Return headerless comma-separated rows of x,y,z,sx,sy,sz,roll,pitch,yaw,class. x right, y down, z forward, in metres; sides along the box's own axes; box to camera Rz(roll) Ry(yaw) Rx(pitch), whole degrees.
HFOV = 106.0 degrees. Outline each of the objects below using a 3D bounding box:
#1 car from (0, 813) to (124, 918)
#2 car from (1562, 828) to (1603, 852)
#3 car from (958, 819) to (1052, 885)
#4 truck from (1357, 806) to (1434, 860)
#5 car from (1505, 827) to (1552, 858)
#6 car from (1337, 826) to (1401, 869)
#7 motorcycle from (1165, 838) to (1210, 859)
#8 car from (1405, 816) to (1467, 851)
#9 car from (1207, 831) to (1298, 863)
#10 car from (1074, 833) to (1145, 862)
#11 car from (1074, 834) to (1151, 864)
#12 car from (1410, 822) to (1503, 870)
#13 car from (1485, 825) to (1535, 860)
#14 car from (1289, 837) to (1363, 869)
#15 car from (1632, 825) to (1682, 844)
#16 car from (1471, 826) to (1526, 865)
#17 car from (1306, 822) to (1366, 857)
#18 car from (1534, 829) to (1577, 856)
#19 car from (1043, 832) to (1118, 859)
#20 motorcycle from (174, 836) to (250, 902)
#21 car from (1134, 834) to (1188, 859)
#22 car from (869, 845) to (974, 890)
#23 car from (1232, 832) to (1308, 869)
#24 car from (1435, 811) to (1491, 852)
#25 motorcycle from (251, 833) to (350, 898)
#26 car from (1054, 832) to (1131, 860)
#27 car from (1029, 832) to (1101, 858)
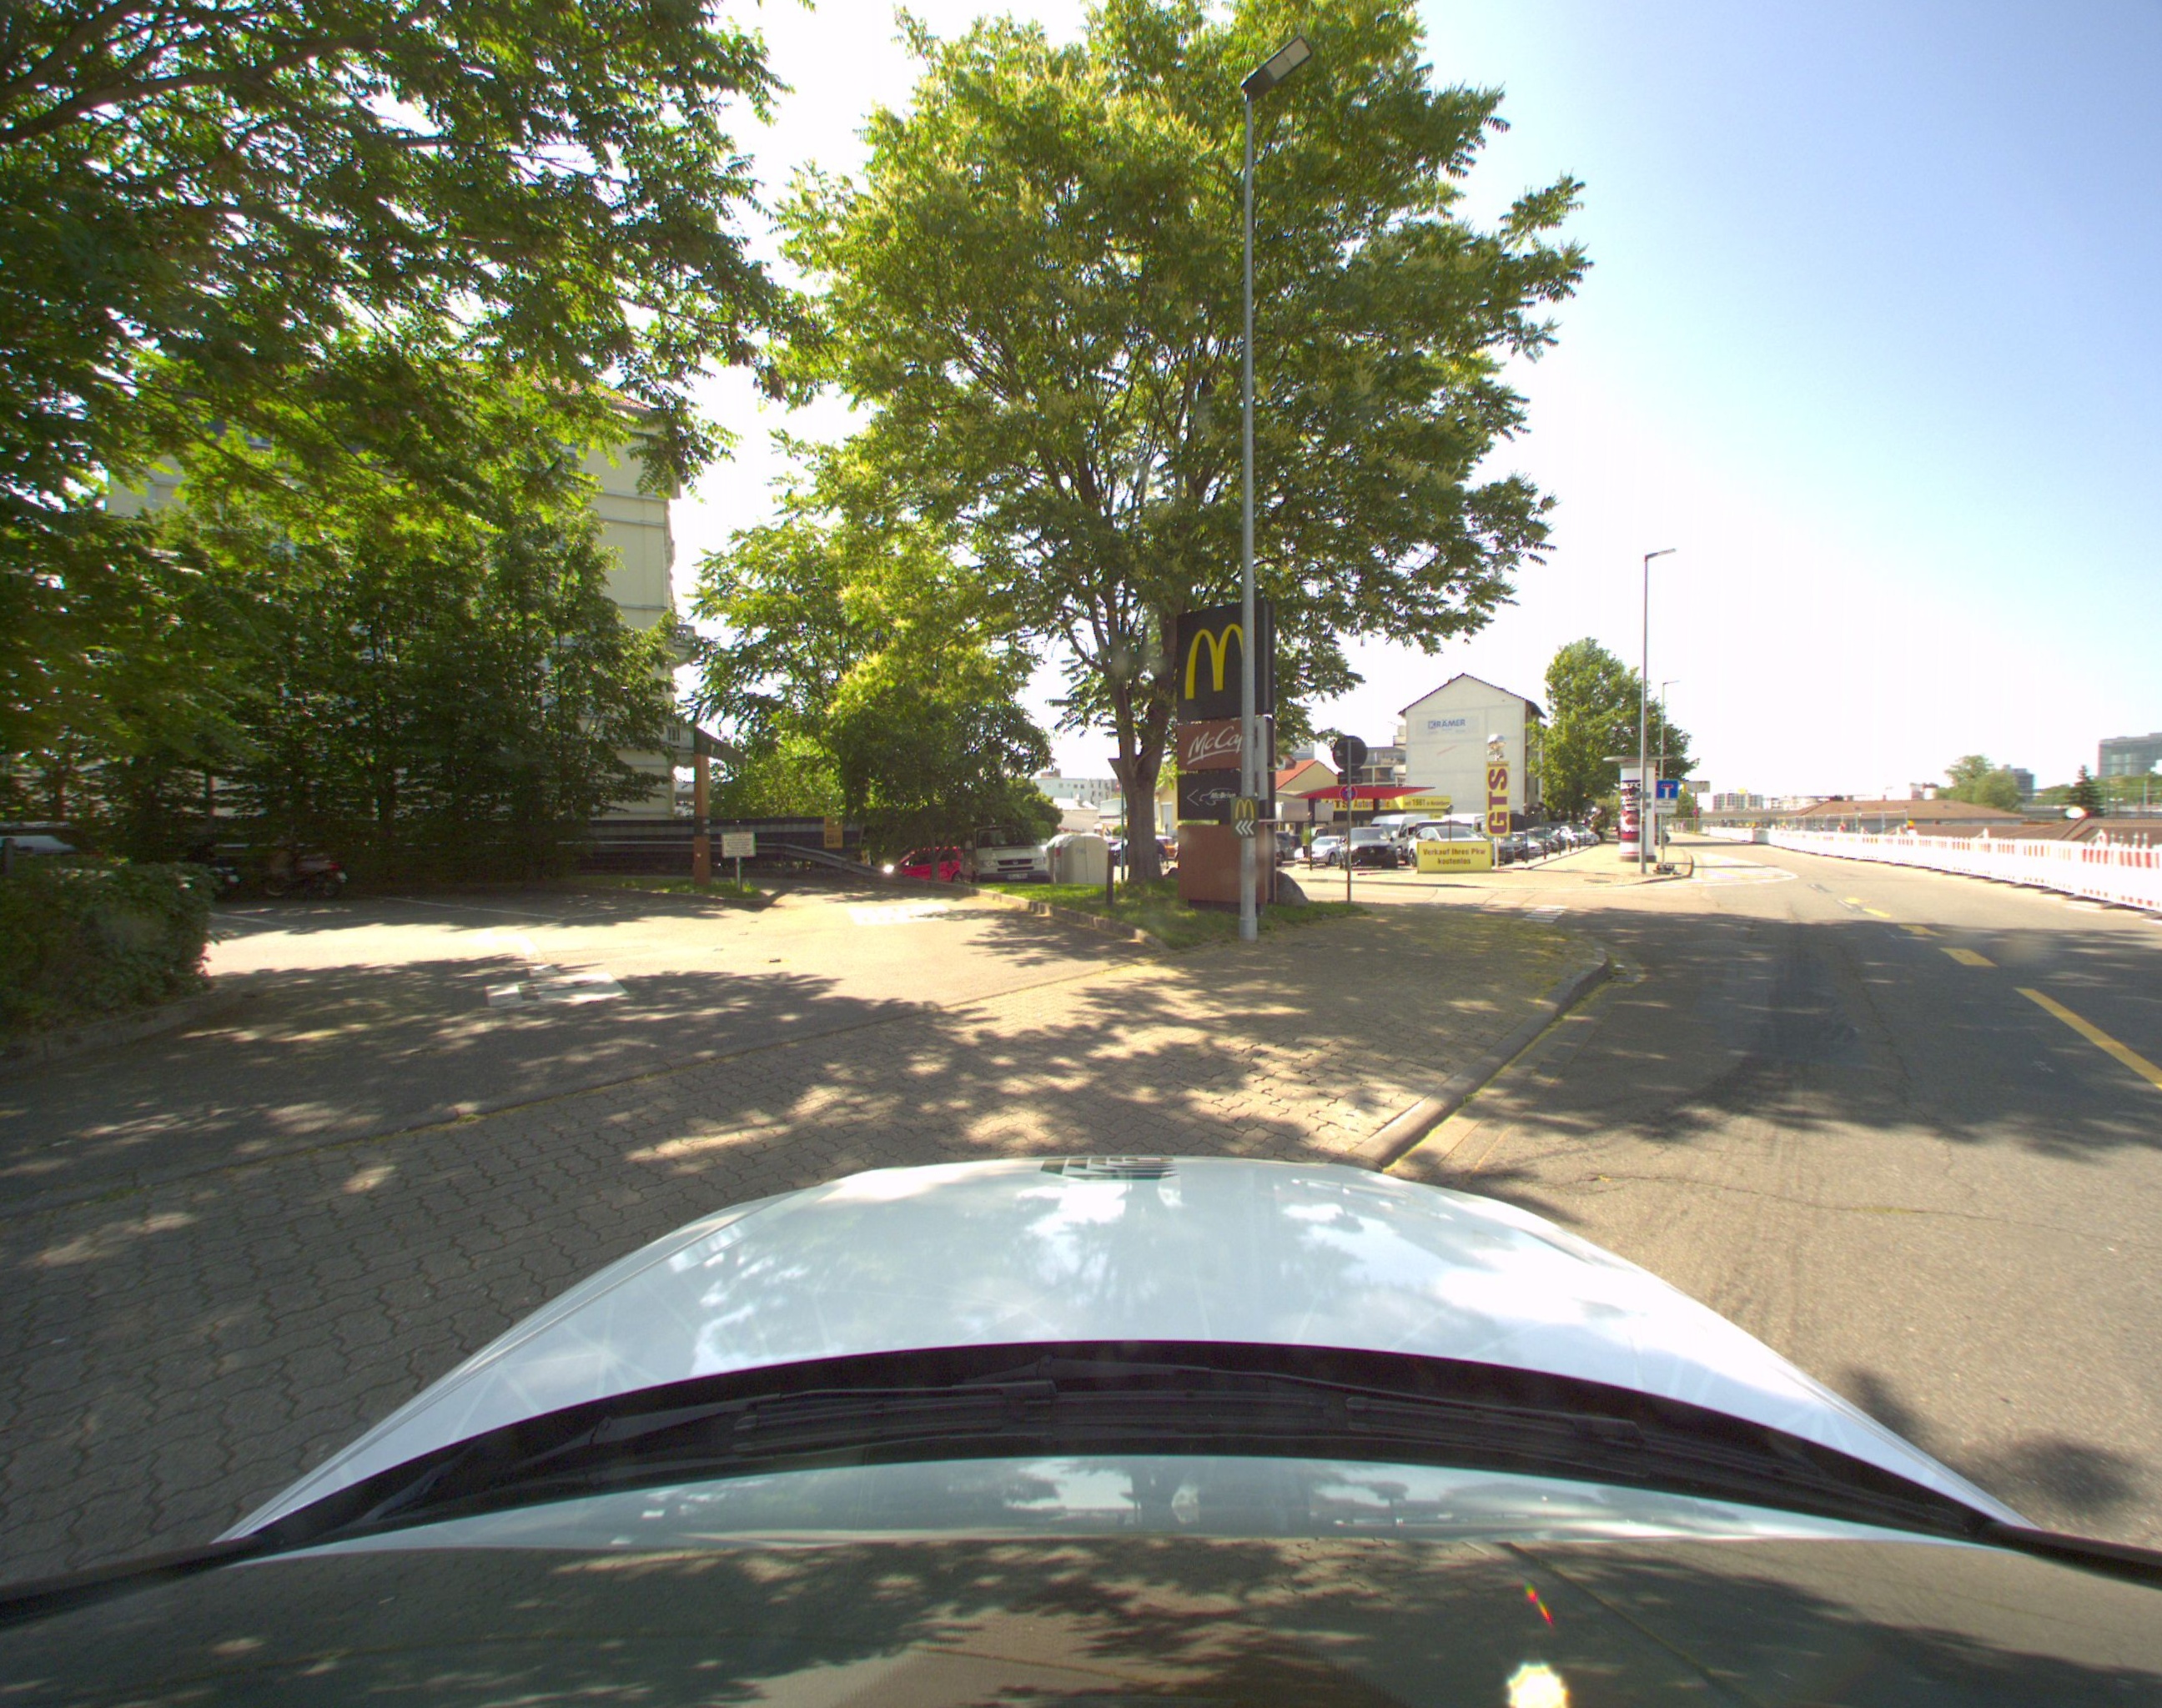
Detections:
-17.339,0.114,13.162,3.855,1.469,1.672,3,4,29,car
35.507,-1.021,57.759,1.840,1.629,4.022,1,2,23,car
-2.195,-0.137,22.116,1.953,1.583,5.011,1,2,-12,car
18.206,-1.222,46.974,2.247,2.903,5.981,3,3,40,truck
24.632,-0.673,44.909,1.840,1.629,4.022,1,2,23,car
11.417,-0.294,32.550,2.032,1.594,4.441,1,1,15,car
6.657,-0.351,50.895,2.728,1.226,0.989,0,1,-32,motorcycle
18.869,-1.116,43.184,1.859,1.737,4.752,3,3,38,car
8.942,-0.373,42.707,4.307,1.584,2.000,1,1,-1,car
1.779,-0.423,50.595,4.013,1.725,1.980,0,1,-31,car
1.798,-0.290,47.255,4.005,1.705,1.984,0,1,-24,car
14.683,-0.343,32.105,1.985,1.725,4.004,1,1,3,car
21.221,-0.607,40.419,1.840,1.629,4.022,1,2,23,car
12.140,-0.094,40.292,4.023,1.487,1.772,-1,2,-45,car
51.132,-1.749,72.352,3.264,1.637,1.724,1,1,-4,car
18.164,-0.414,35.566,1.840,1.629,4.022,1,2,23,car
15.239,-0.879,48.517,1.974,2.013,4.524,2,2,37,car
30.053,-0.768,51.661,1.840,1.629,4.022,1,2,23,car
-0.017,-0.569,55.221,4.669,1.725,1.981,0,1,-31,car
-15.916,0.257,14.908,1.585,1.140,0.477,1,3,26,motorcycle
5.337,-0.536,54.562,2.001,1.584,3.972,0,2,-22,car
-5.648,0.443,28.798,3.418,1.378,1.476,-2,4,-22,car
8.384,-0.167,35.900,1.771,1.509,4.026,2,2,36,car
22.571,-1.353,48.008,2.115,2.284,4.741,1,2,36,car
-14.520,0.200,15.160,1.588,1.169,0.573,0,2,16,motorcycle
0.763,-0.492,52.666,4.669,1.725,1.981,0,1,-31,car
-1.124,-0.640,57.356,4.669,1.725,1.981,0,1,-31,car
